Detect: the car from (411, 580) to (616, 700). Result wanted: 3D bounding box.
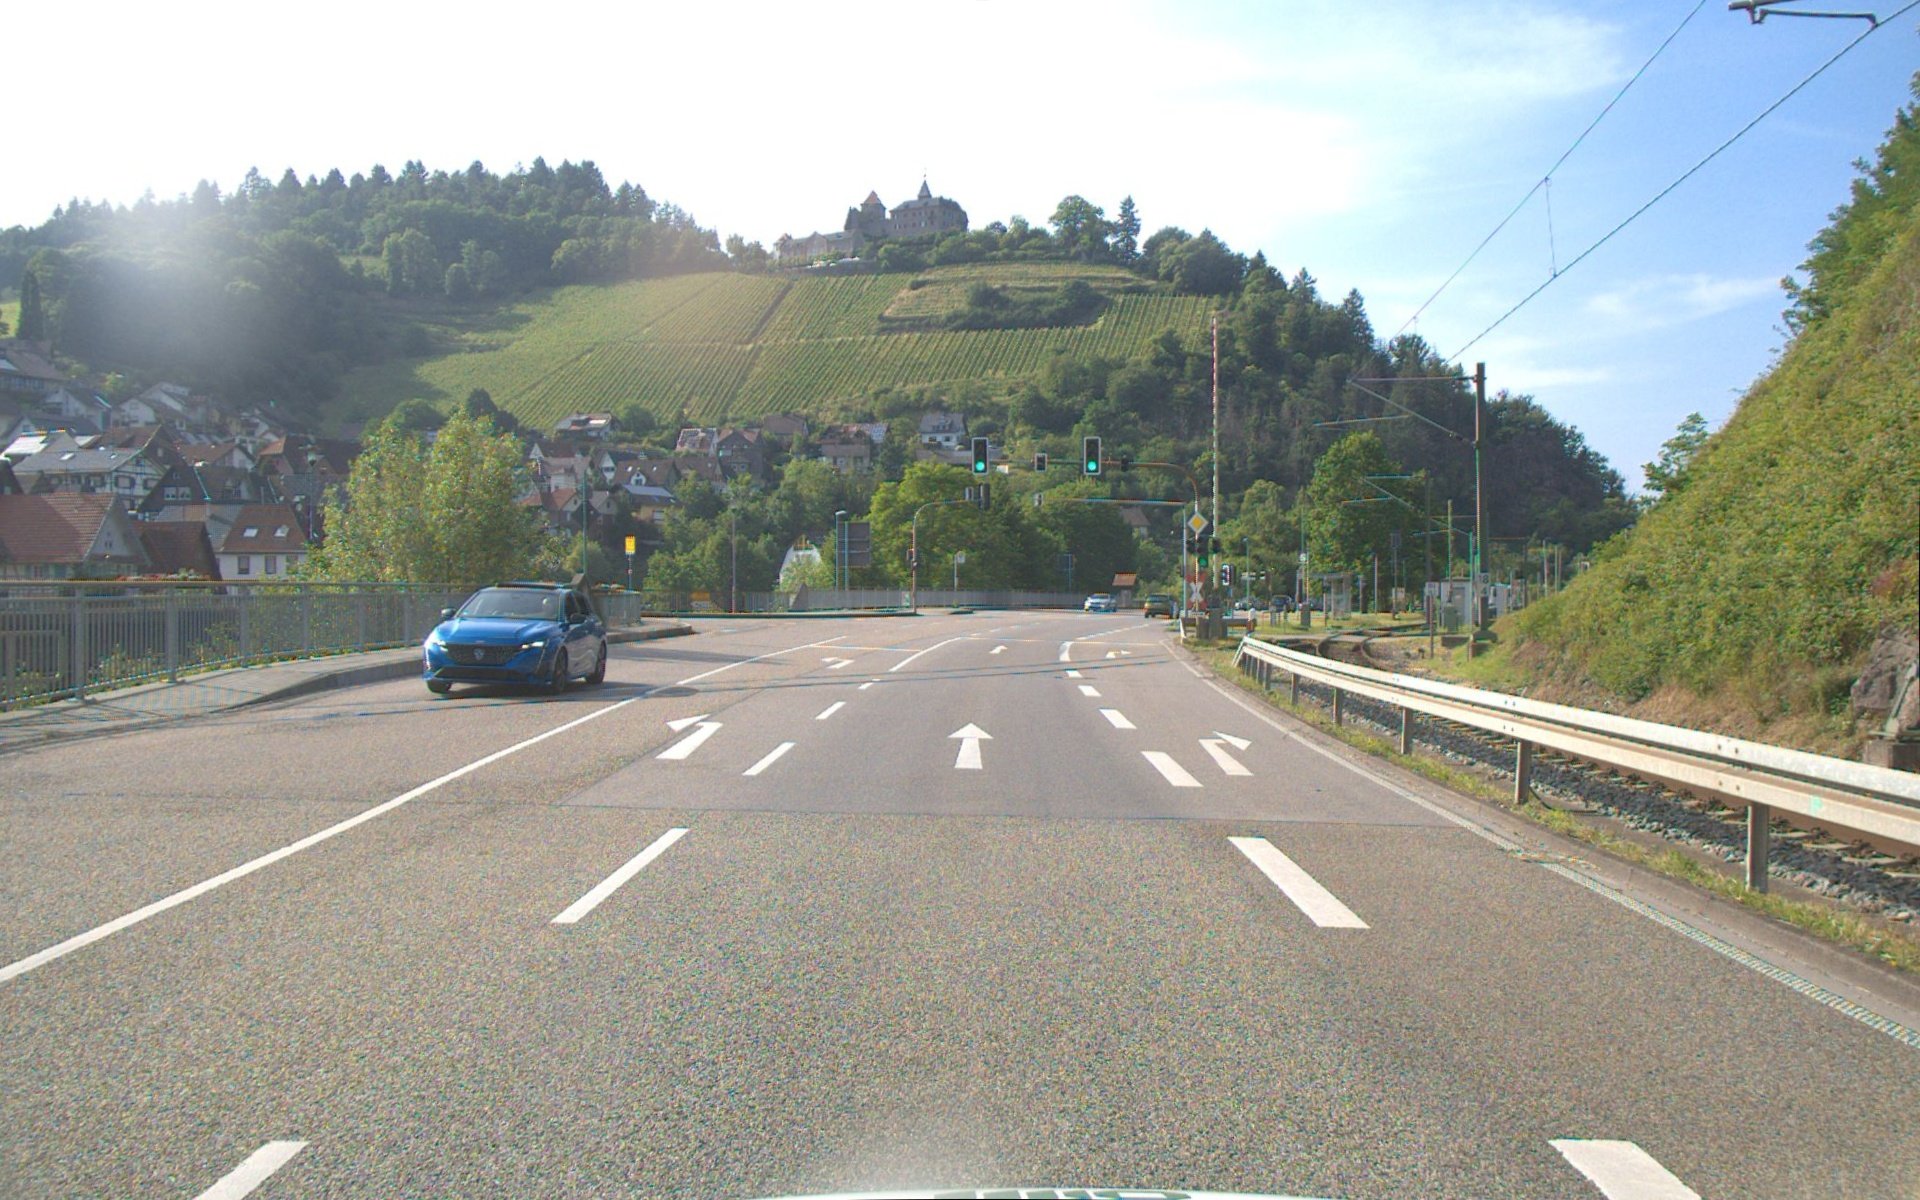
[{"bbox_3d":[-6.163,0.490,23.363,1.746,1.508,4.525,1,0,-1],"label":"car"}]

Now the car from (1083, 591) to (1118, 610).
[{"bbox_3d":[10.089,0.038,118.659,1.610,1.253,4.096,1,1,17],"label":"car"}]

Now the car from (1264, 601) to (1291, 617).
[{"bbox_3d":[29.102,0.824,151.633,1.769,1.478,3.647,-1,-1,21],"label":"car"}]

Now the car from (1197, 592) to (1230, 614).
[{"bbox_3d":[18.523,0.229,120.579,1.801,1.485,3.715,-1,-1,17],"label":"car"}]

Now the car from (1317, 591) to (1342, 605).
[{"bbox_3d":[39.064,-0.243,174.728,1.773,1.433,3.769,-1,-1,26],"label":"car"}]

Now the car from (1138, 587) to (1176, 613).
[{"bbox_3d":[11.930,0.008,99.935,1.692,1.482,3.412,-1,-1,16],"label":"car"}]
